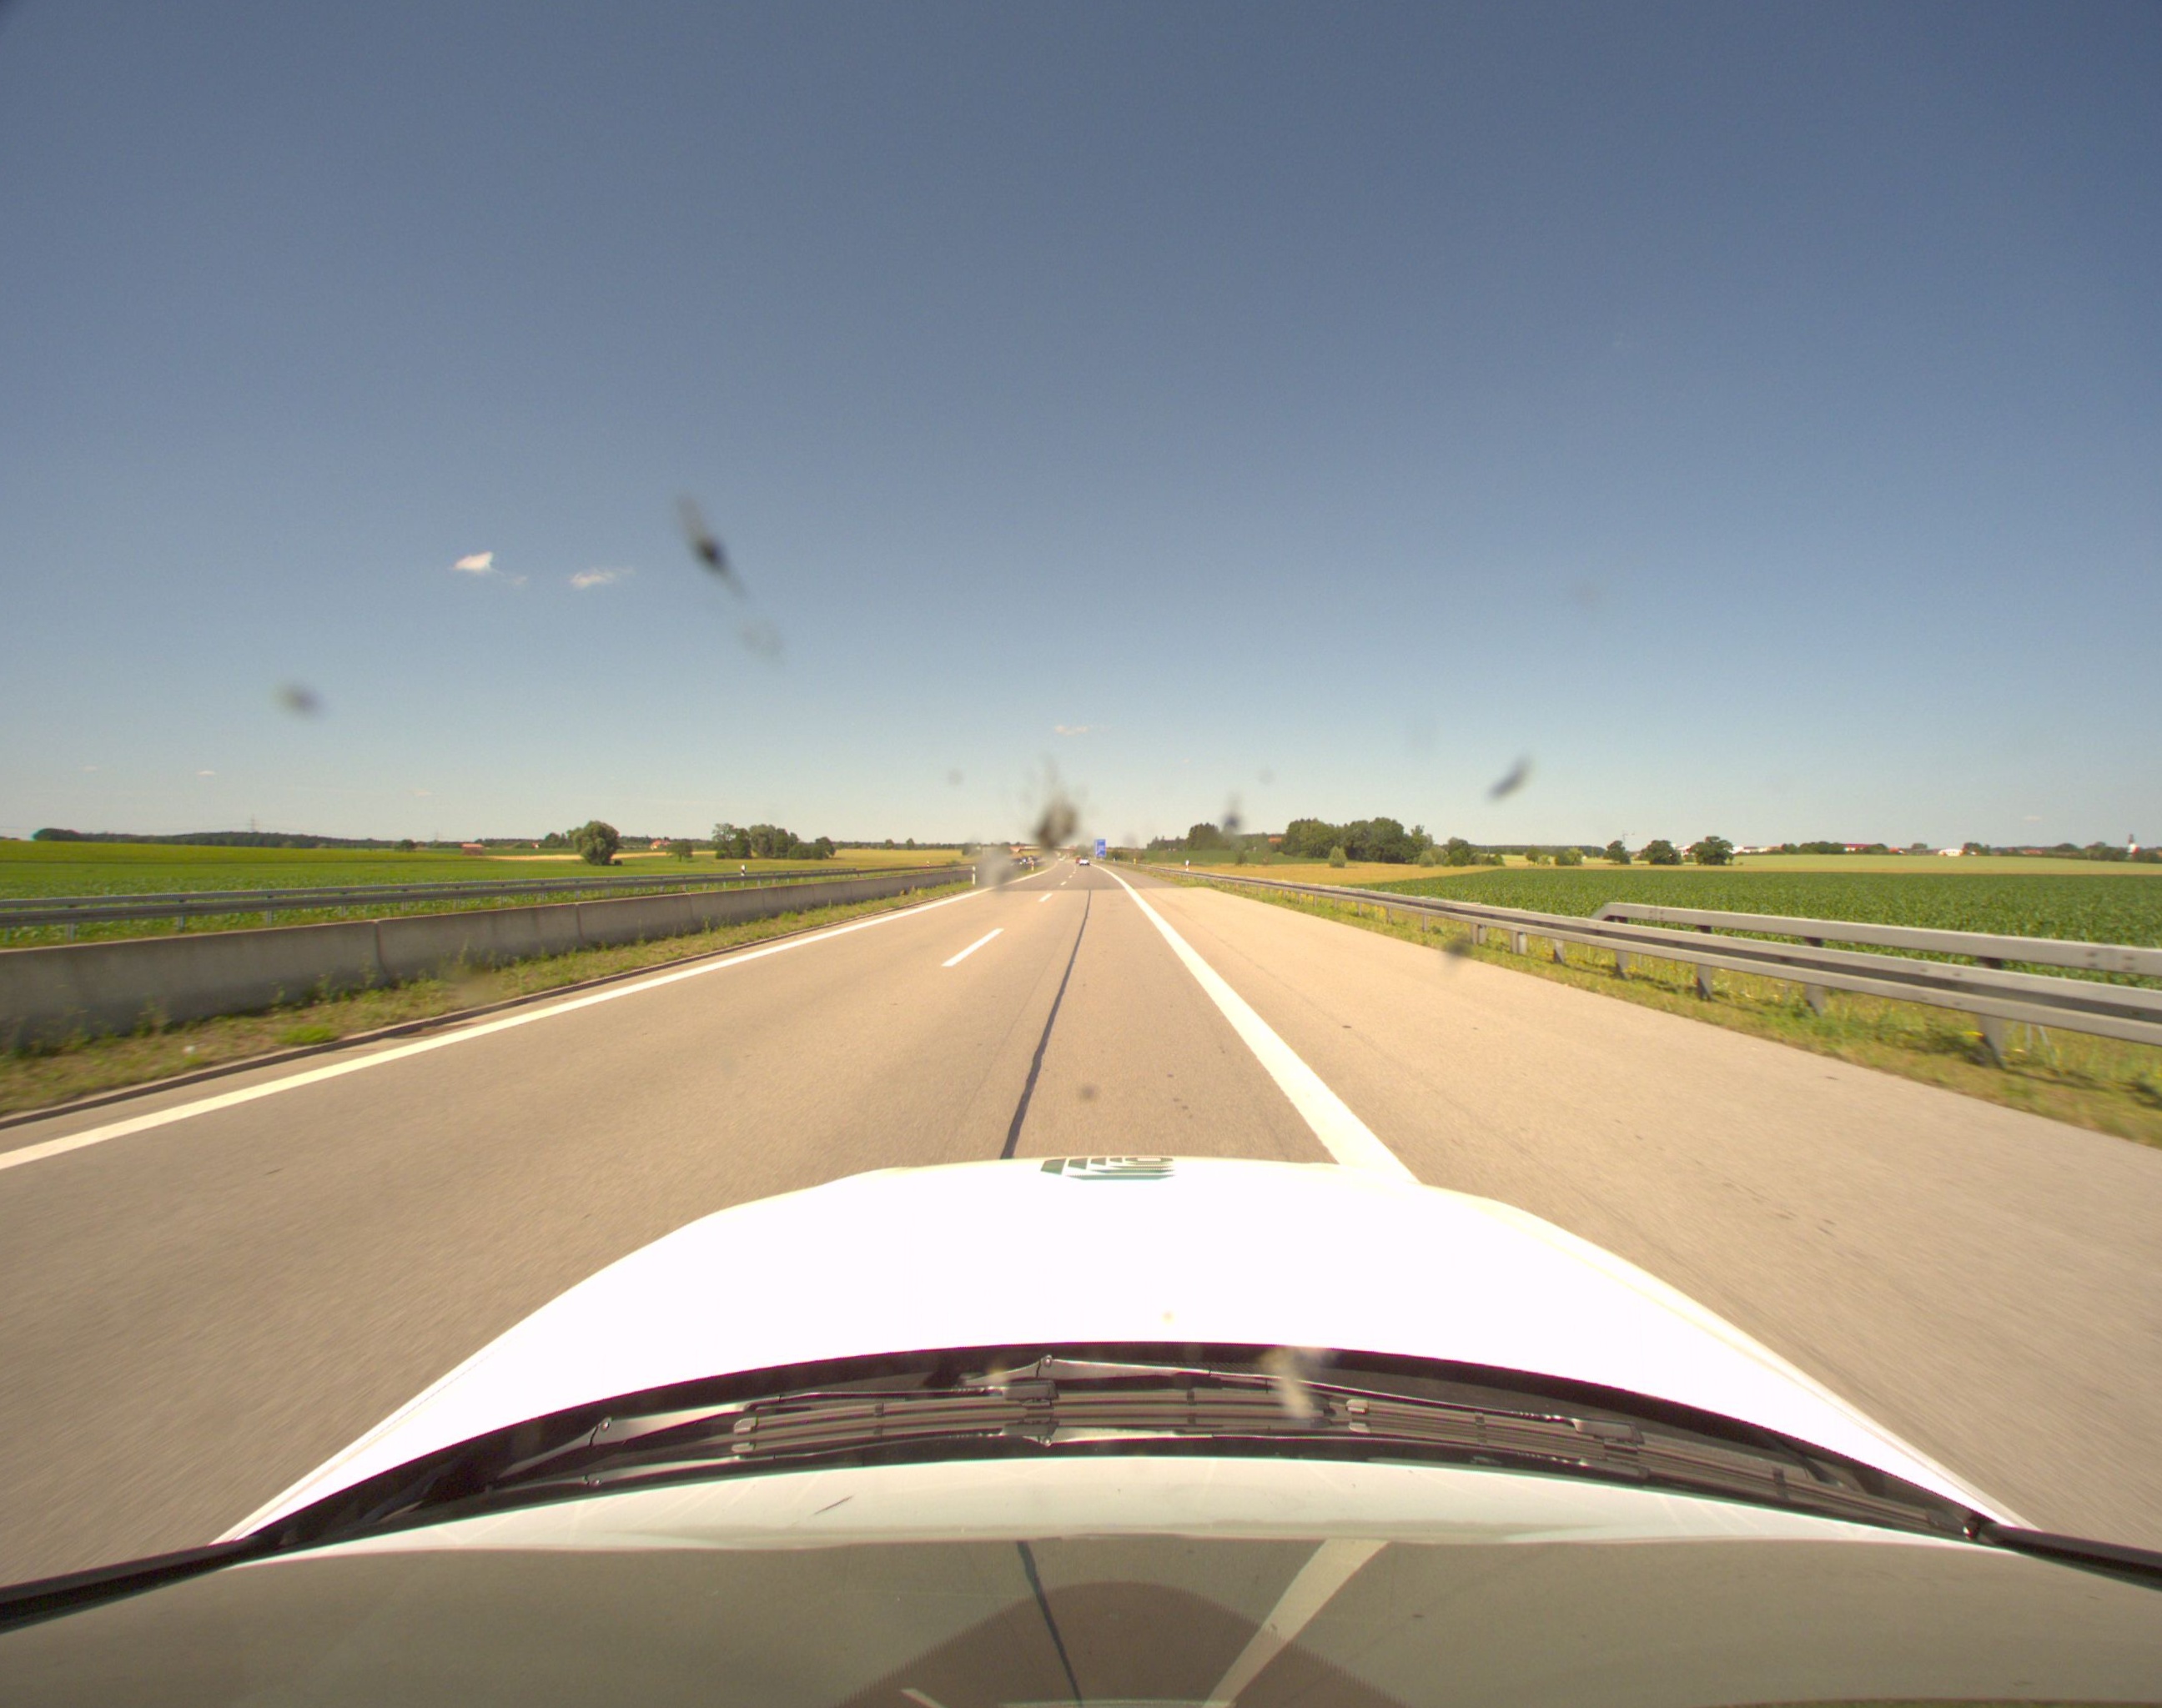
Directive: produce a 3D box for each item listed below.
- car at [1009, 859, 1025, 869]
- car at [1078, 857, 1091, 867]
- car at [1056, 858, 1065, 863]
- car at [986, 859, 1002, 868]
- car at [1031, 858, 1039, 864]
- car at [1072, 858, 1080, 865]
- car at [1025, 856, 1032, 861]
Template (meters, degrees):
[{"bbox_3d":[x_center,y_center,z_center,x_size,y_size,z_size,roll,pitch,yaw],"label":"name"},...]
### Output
[{"bbox_3d":[-9.510,1.407,121.315,1.817,1.365,5.197,-1,0,0],"label":"car"},{"bbox_3d":[0.550,1.438,148.802,1.990,1.731,4.861,0,0,-5],"label":"car"},{"bbox_3d":[-6.488,2.129,259.203,1.994,1.731,4.850,0,0,-11],"label":"car"},{"bbox_3d":[-13.014,1.416,122.300,1.817,1.365,4.663,-1,0,0],"label":"car"},{"bbox_3d":[-10.959,1.637,194.500,1.818,1.365,4.657,-1,0,-1],"label":"car"},{"bbox_3d":[-1.233,1.914,199.231,1.988,1.731,4.866,0,0,-2],"label":"car"},{"bbox_3d":[-16.253,1.467,251.173,1.854,1.584,4.909,-1,0,-3],"label":"car"}]
